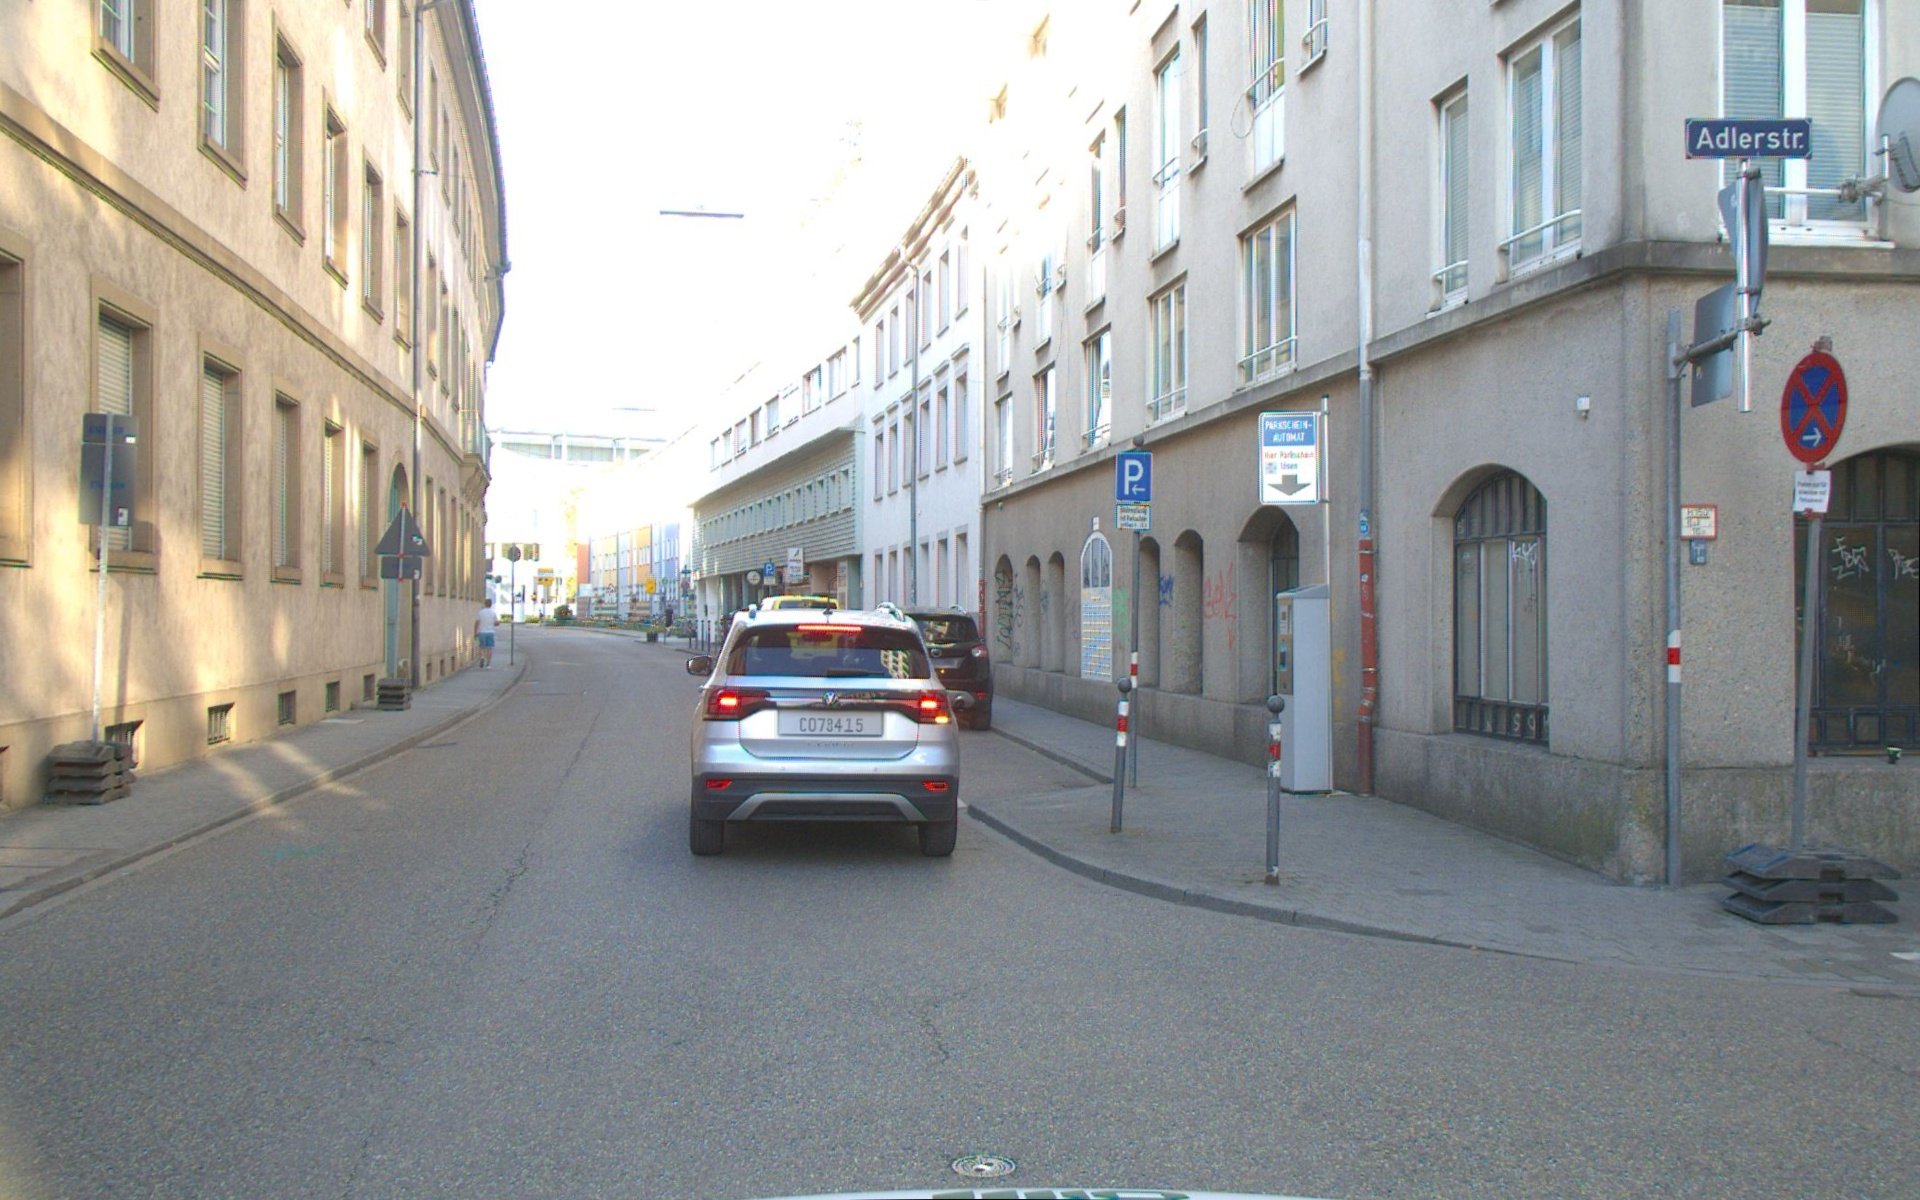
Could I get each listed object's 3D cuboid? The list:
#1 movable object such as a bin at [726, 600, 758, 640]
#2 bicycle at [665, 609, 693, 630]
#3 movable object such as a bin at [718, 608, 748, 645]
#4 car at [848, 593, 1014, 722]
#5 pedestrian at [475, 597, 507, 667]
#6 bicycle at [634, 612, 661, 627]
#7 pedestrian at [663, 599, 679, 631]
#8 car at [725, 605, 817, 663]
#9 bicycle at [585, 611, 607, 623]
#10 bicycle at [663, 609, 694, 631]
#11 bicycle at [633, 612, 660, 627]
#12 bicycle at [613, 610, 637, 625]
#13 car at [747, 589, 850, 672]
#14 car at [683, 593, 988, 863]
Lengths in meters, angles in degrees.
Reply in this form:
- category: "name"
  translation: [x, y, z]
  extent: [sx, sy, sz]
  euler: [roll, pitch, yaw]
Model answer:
- category: "movable object such as a bin"
  translation: [-8.482, 0.789, 64.318]
  extent: [0.965, 1.506, 1.544]
  euler: [-1, -2, -16]
- category: "bicycle"
  translation: [-17.061, 1.195, 100.476]
  extent: [1.621, 1.161, 0.281]
  euler: [-3, 1, -27]
- category: "movable object such as a bin"
  translation: [-9.028, 1.048, 65.845]
  extent: [0.965, 1.409, 1.314]
  euler: [-1, -2, -16]
- category: "car"
  translation: [-0.521, 0.771, 24.126]
  extent: [1.791, 1.683, 4.484]
  euler: [1, 0, -9]
- category: "pedestrian"
  translation: [-11.683, 0.792, 41.250]
  extent: [0.681, 1.699, 0.871]
  euler: [2, -1, -14]
- category: "bicycle"
  translation: [-21.195, 1.342, 112.224]
  extent: [1.722, 0.963, 0.549]
  euler: [-1, -1, -19]
- category: "pedestrian"
  translation: [-16.263, 0.834, 92.996]
  extent: [0.686, 1.790, 1.182]
  euler: [-2, 0, -18]
- category: "car"
  translation: [-5.295, 0.916, 45.881]
  extent: [1.852, 1.515, 4.349]
  euler: [1, 0, -16]
- category: "bicycle"
  translation: [-31.126, 1.440, 141.318]
  extent: [1.730, 1.021, 0.609]
  euler: [-1, -1, -24]
- category: "bicycle"
  translation: [-16.848, 1.200, 99.064]
  extent: [1.722, 1.161, 0.549]
  euler: [-3, 1, -19]
- category: "bicycle"
  translation: [-21.410, 1.348, 112.910]
  extent: [1.722, 0.963, 0.549]
  euler: [-1, -1, -19]
- category: "bicycle"
  translation: [-25.977, 1.338, 128.249]
  extent: [1.784, 1.157, 0.548]
  euler: [0, -1, -21]
- category: "car"
  translation: [-4.019, 0.713, 40.488]
  extent: [1.851, 1.915, 4.828]
  euler: [1, 0, -13]
- category: "car"
  translation: [-0.999, 0.773, 11.824]
  extent: [1.791, 1.586, 3.979]
  euler: [1, 0, -8]
